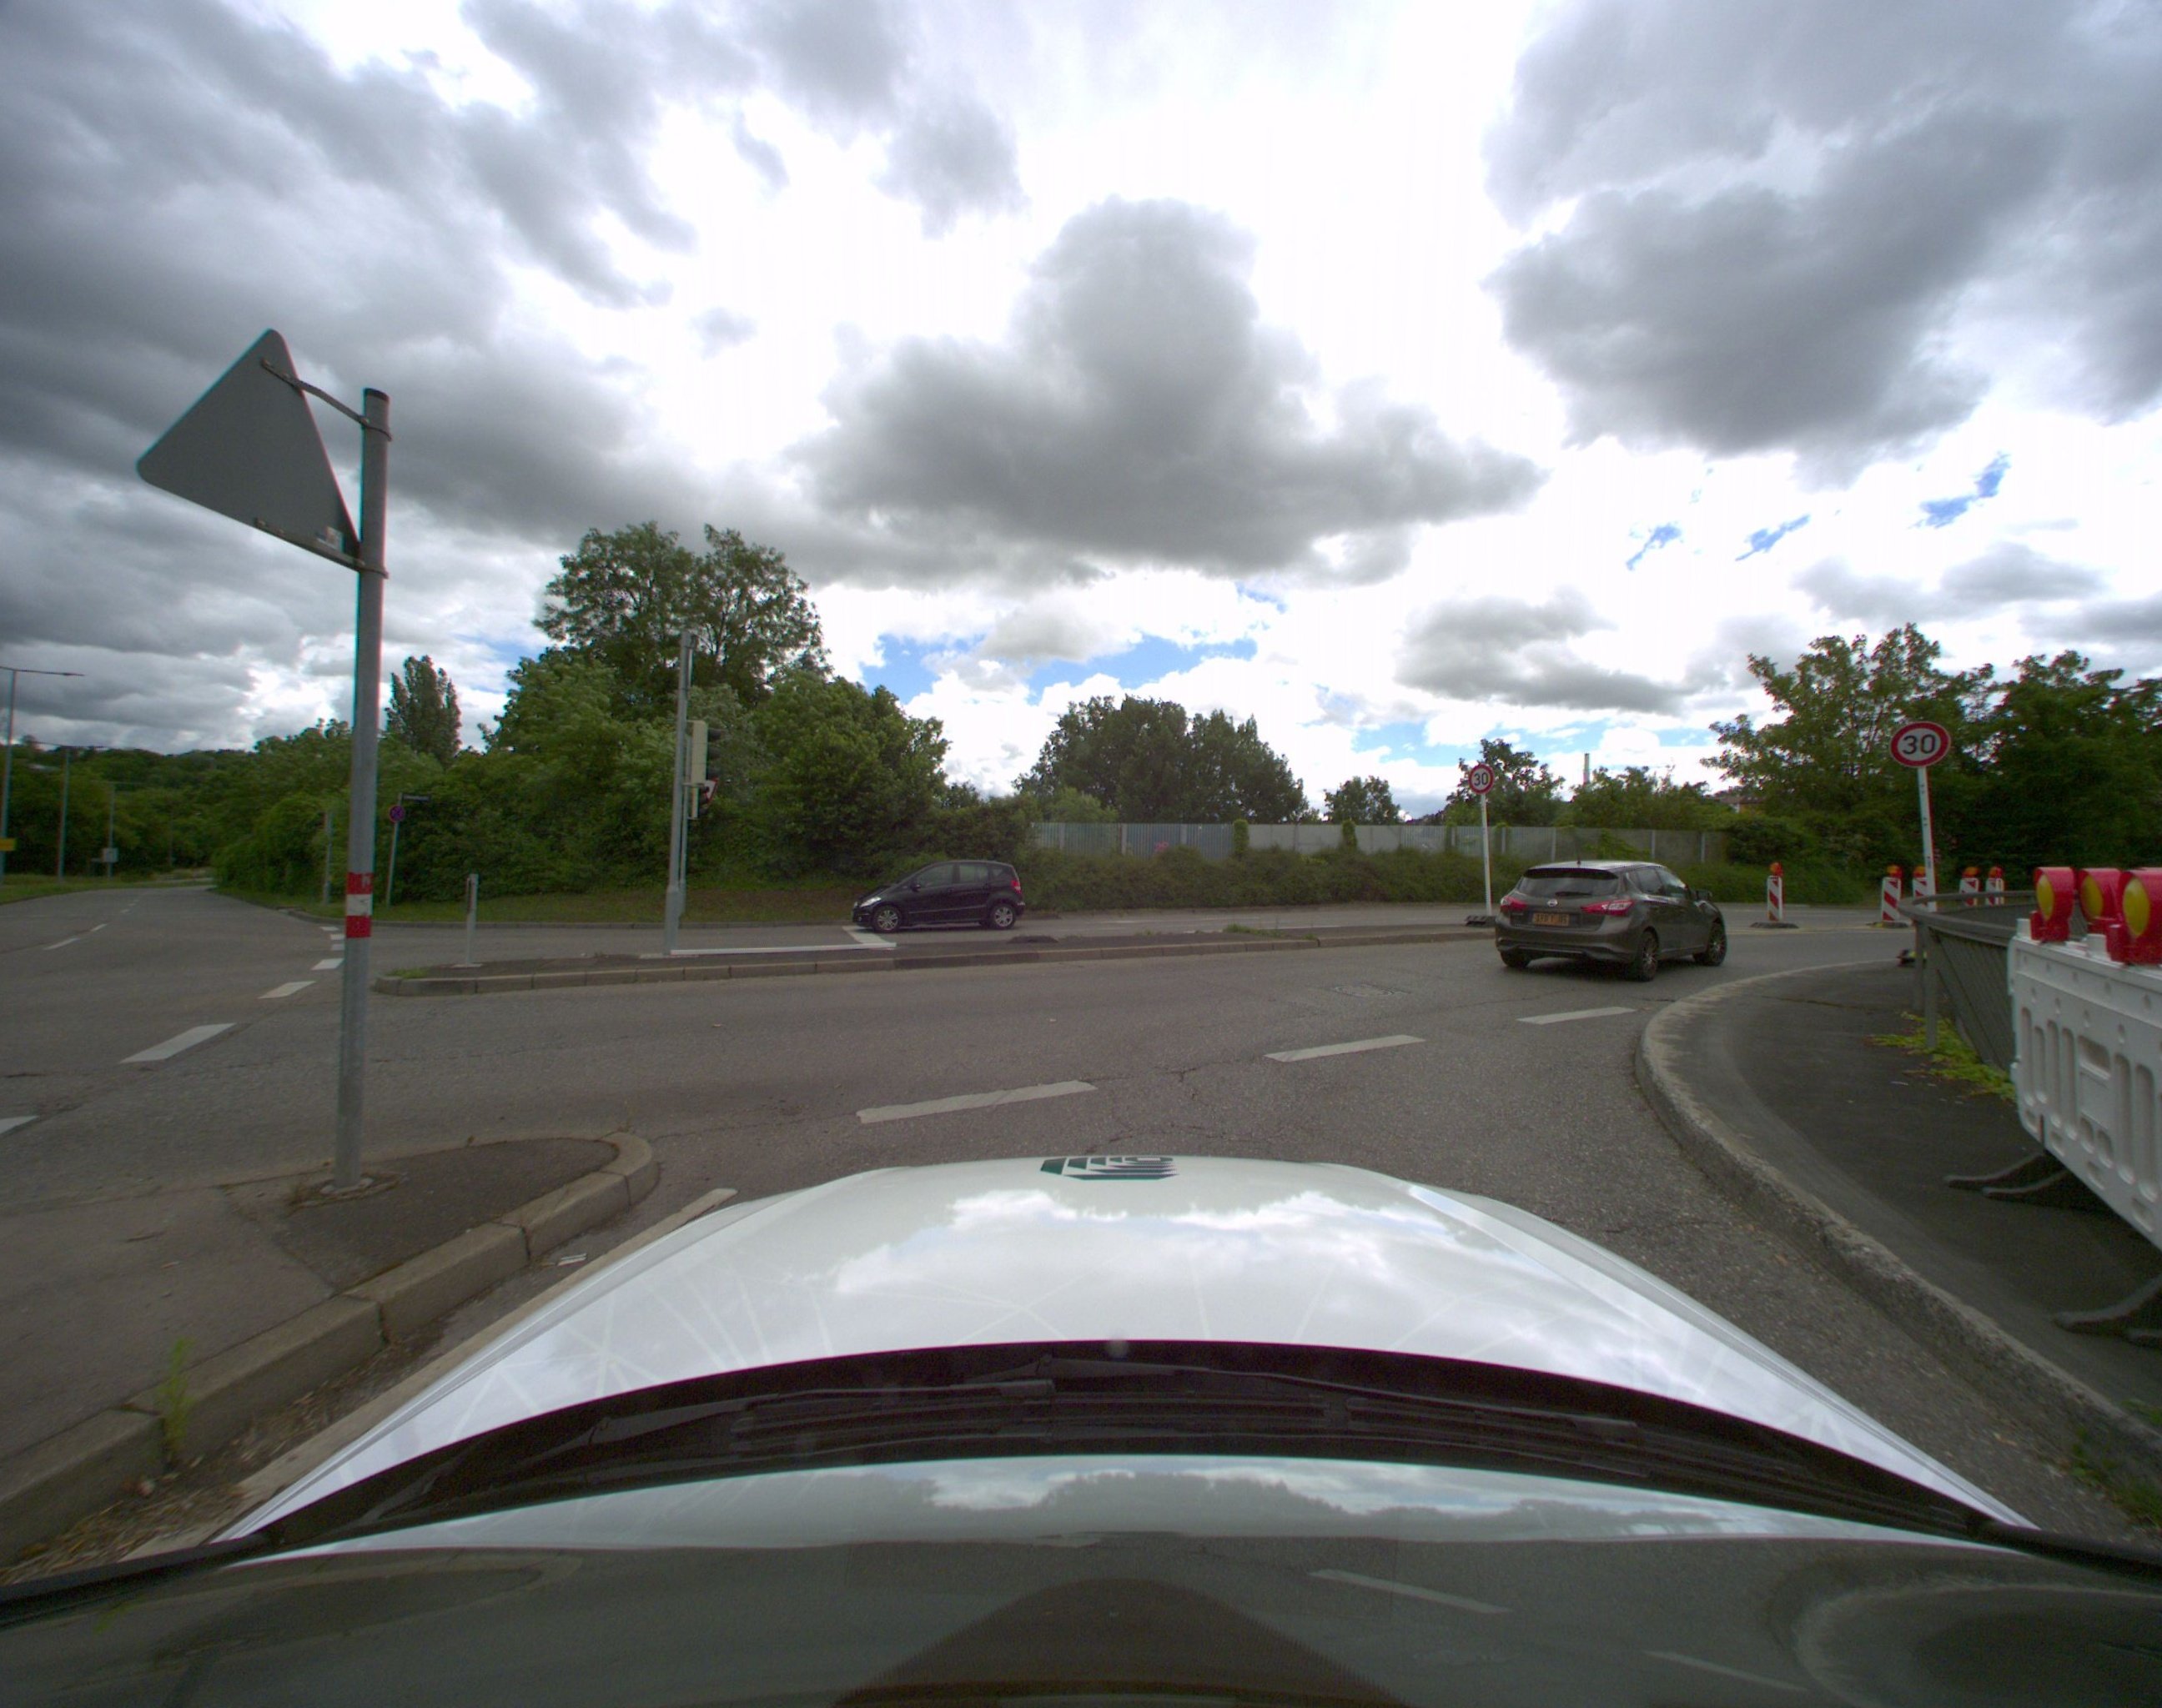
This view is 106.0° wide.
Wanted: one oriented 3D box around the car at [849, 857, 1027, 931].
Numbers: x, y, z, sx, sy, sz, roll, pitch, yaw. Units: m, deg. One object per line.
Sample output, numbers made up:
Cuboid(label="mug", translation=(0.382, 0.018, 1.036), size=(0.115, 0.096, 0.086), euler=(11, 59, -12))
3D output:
Cuboid(label="car", translation=(-3.284, 0.877, 18.627), size=(3.789, 1.552, 1.632), euler=(0, -2, -20))

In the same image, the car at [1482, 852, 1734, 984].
Cuboid(label="car", translation=(7.566, 0.761, 11.556), size=(4.019, 1.552, 1.783), euler=(0, -1, -38))
